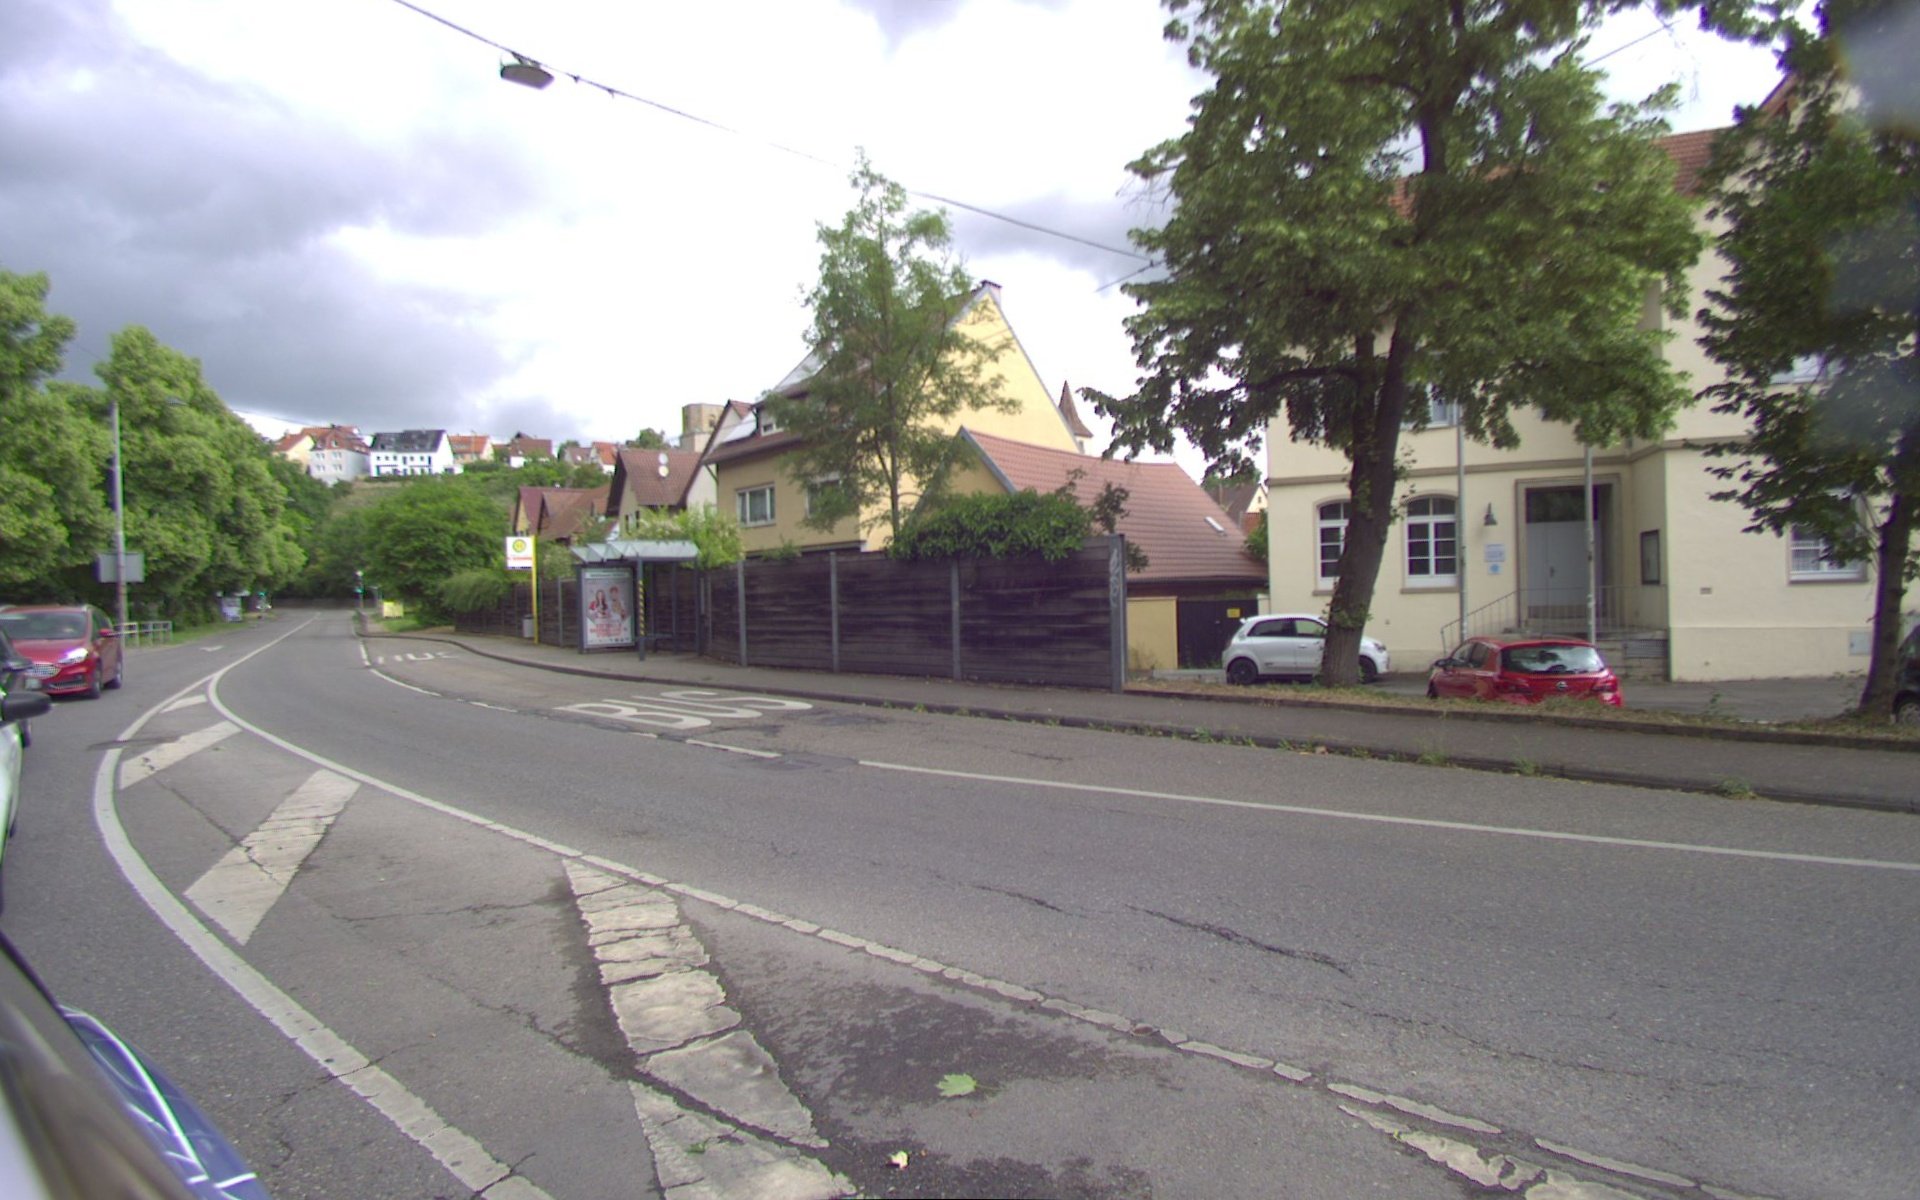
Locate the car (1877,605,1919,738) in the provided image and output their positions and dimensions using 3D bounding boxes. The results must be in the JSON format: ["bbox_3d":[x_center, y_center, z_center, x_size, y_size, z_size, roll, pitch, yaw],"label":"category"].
[{"bbox_3d":[12.695,0.888,11.595,1.586,1.644,3.093,-1,0,2],"label":"car"}]

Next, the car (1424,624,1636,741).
[{"bbox_3d":[8.121,1.103,14.778,1.590,1.389,3.544,-1,0,10],"label":"car"}]

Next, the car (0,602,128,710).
[{"bbox_3d":[-16.116,0.902,17.822,1.799,1.685,4.069,-1,0,-33],"label":"car"}]

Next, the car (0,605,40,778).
[{"bbox_3d":[-10.375,0.855,10.105,1.699,1.559,3.786,-1,0,-42],"label":"car"}]

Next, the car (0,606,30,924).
[{"bbox_3d":[-6.036,0.815,5.284,1.594,1.525,3.610,-1,0,-41],"label":"car"}]

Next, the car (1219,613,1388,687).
[{"bbox_3d":[7.741,1.107,22.933,3.487,1.528,1.581,-1,0,20],"label":"car"}]
